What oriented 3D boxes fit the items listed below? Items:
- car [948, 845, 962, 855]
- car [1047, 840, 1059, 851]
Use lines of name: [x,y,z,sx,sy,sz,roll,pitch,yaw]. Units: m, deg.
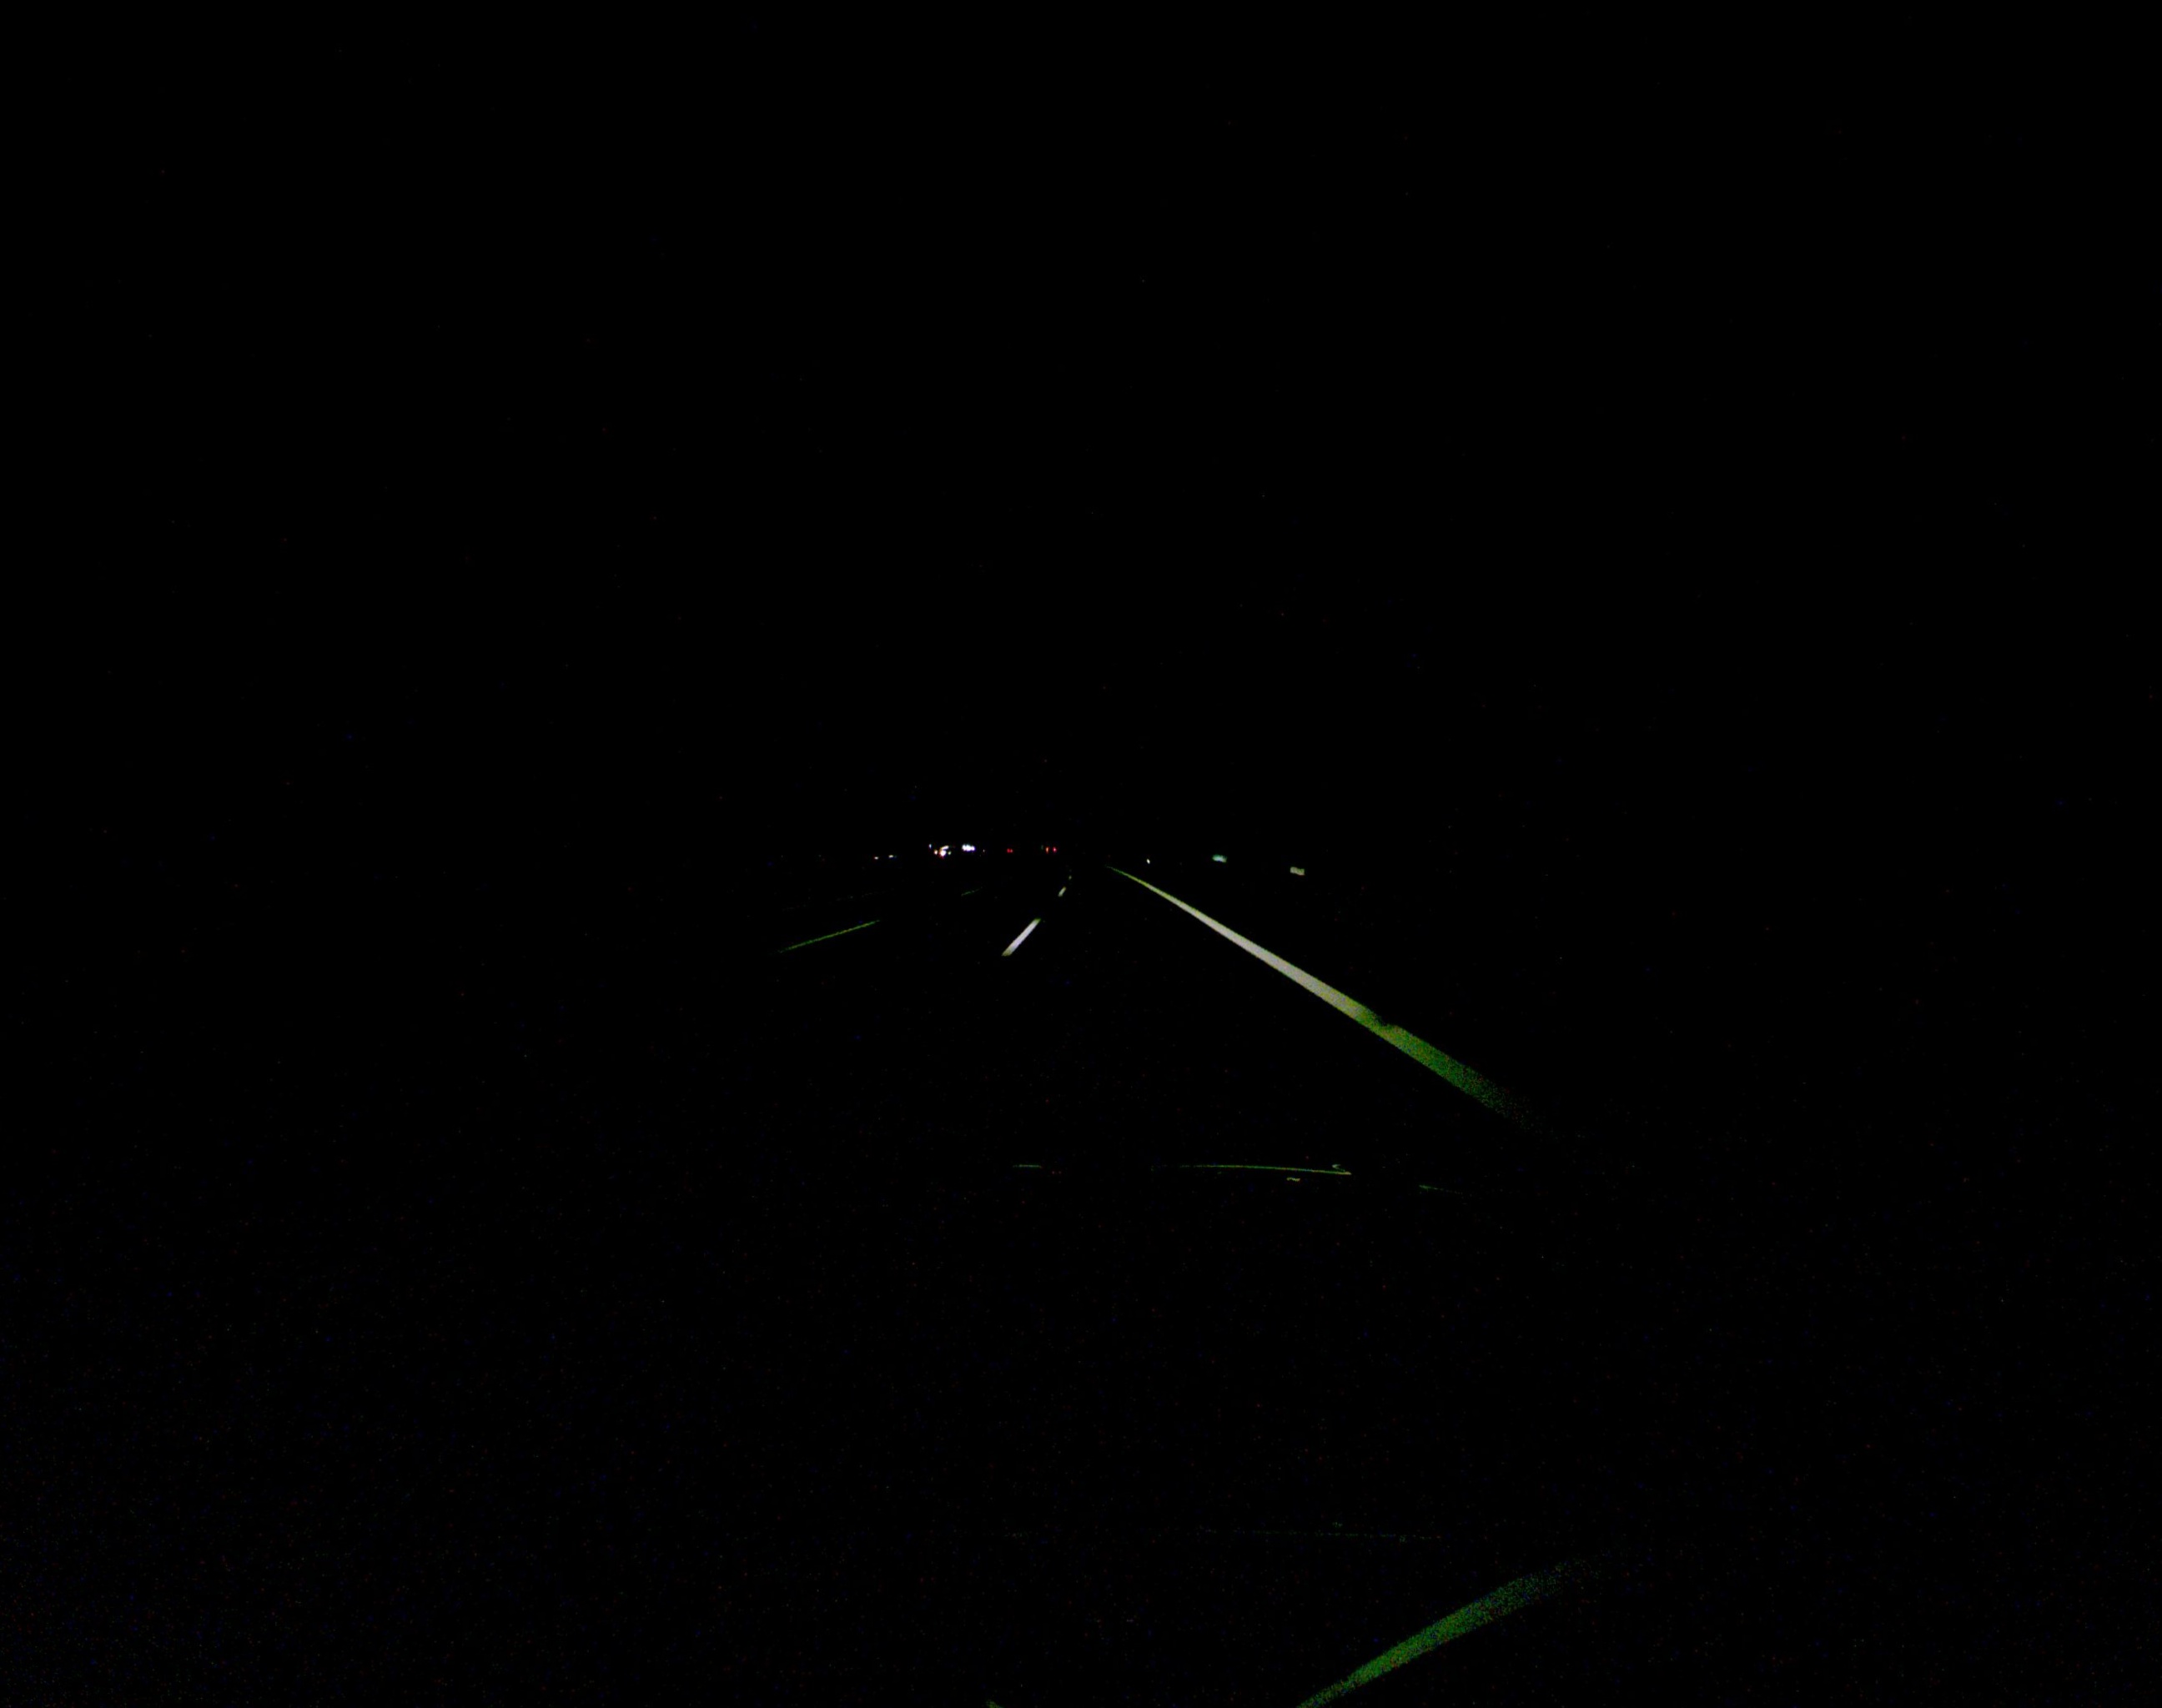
car: [-22.922,-0.708,148.140,1.989,1.854,4.073,-1,1,-3]
car: [-7.090,-2.060,203.163,2.524,2.553,6.040,2,0,-5]
